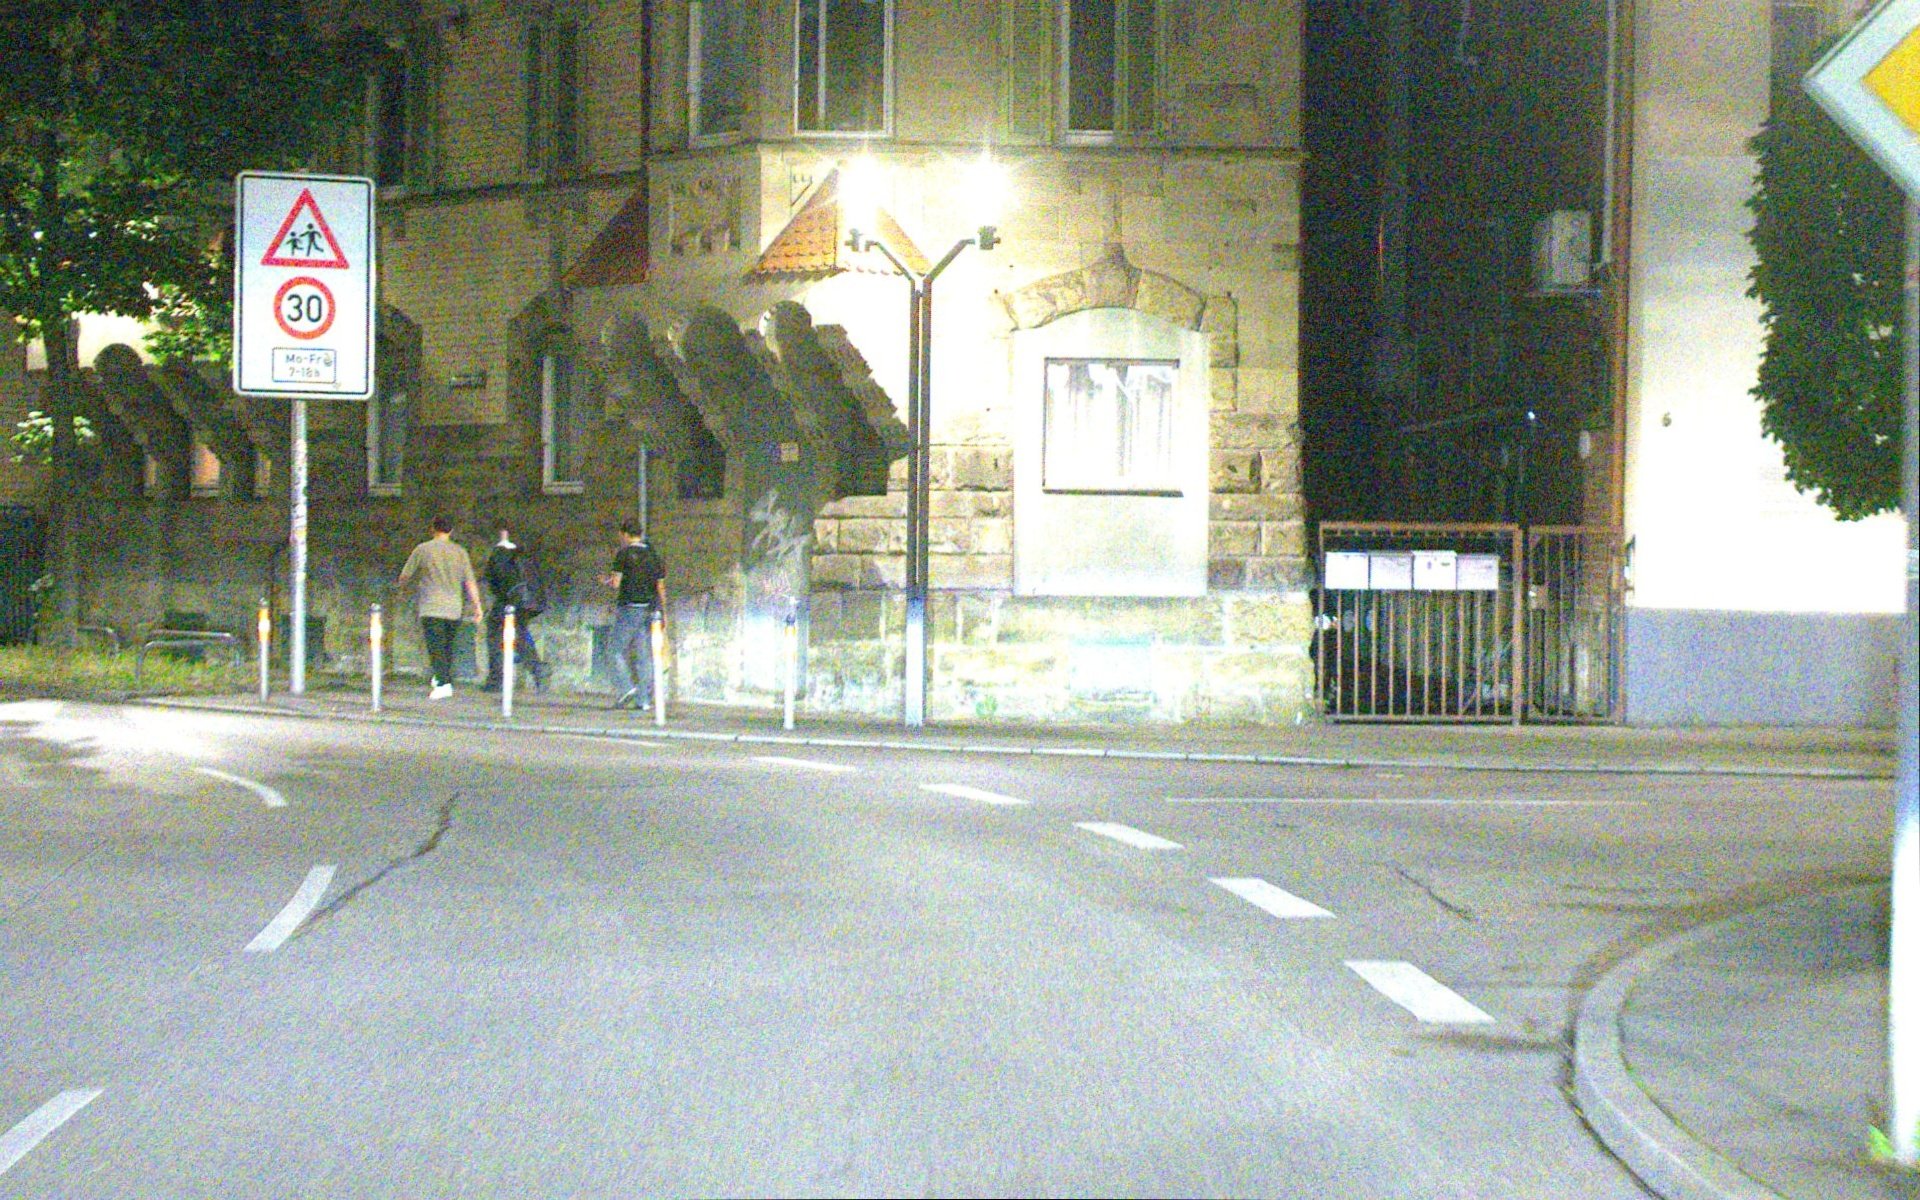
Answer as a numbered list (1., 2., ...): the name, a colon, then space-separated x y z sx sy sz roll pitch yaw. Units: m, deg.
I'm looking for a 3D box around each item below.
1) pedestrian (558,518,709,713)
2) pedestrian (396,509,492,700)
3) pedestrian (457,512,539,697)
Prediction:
1. pedestrian: -2.798 0.127 29.496 0.965 1.625 0.808 2 0 31
2. pedestrian: -4.694 0.035 31.250 0.704 1.703 0.507 2 2 43
3. pedestrian: -4.310 0.035 32.077 0.570 1.703 0.477 2 2 43
